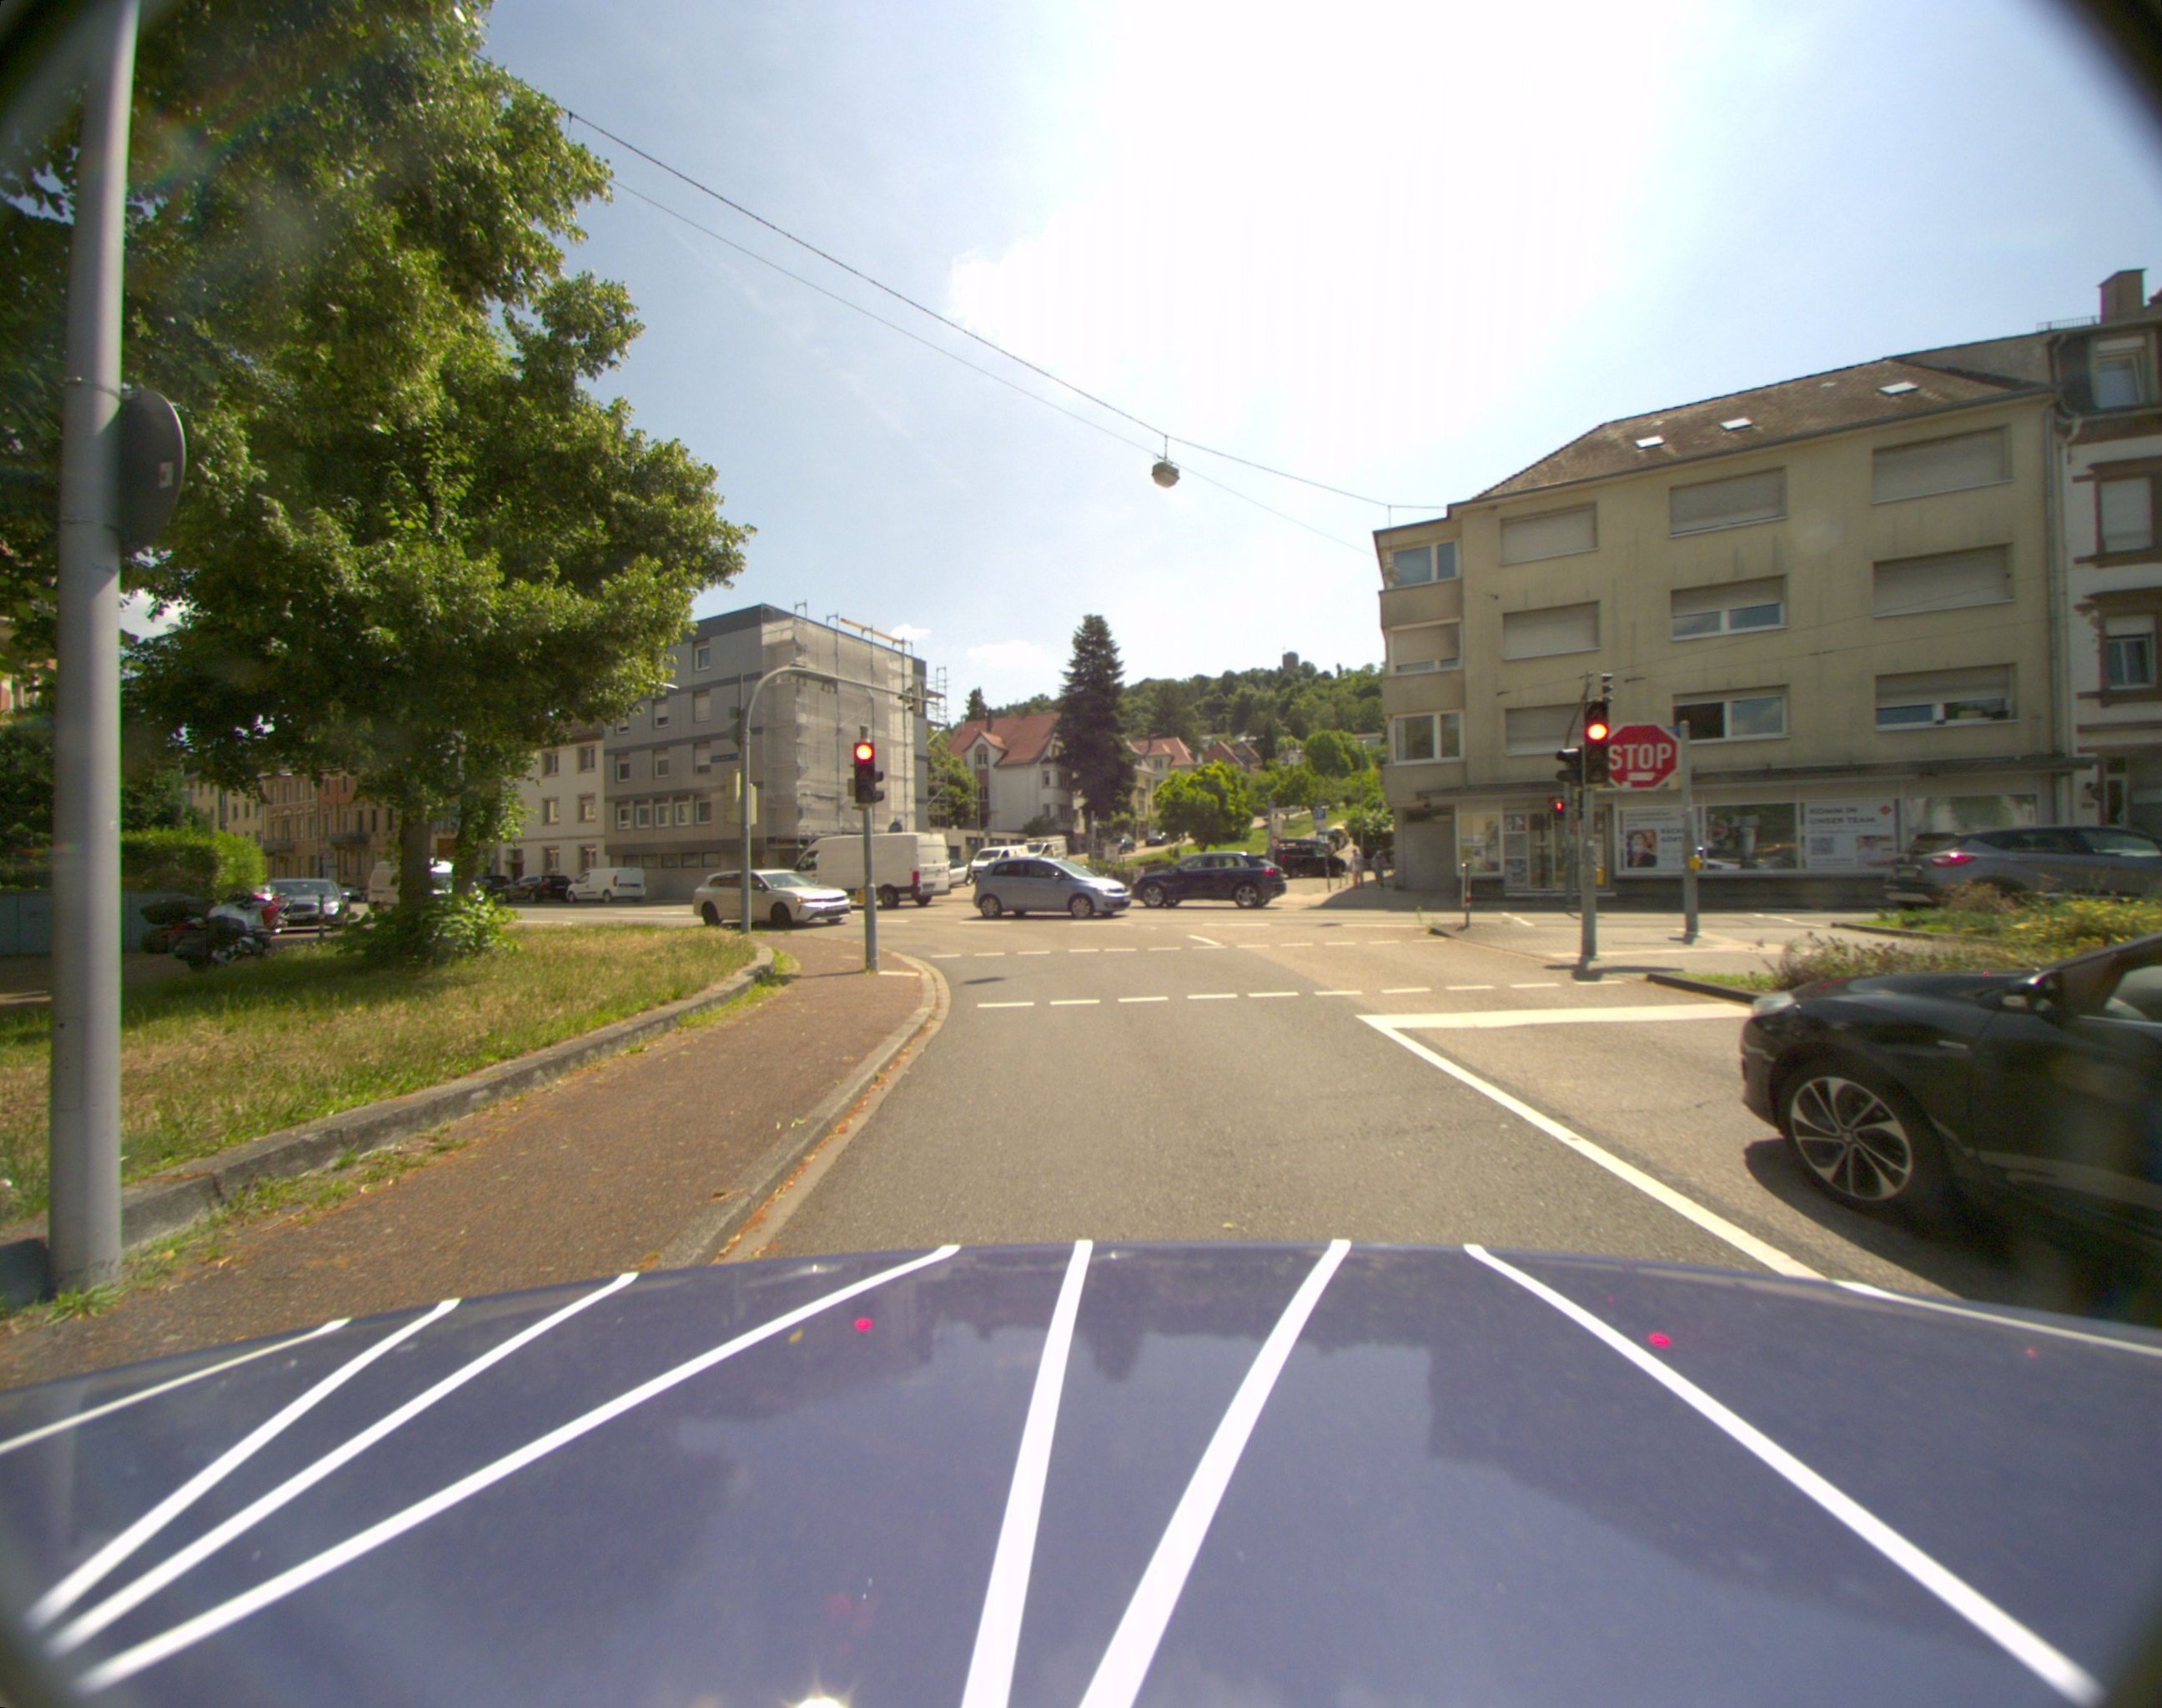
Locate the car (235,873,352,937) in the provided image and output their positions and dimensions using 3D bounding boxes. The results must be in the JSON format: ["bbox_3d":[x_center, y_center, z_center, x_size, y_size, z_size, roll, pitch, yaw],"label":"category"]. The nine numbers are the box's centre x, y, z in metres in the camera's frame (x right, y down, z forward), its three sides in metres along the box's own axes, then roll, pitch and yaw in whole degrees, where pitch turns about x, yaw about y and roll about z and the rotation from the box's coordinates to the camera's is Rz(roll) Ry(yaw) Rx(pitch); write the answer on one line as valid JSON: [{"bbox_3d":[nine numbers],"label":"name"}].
[{"bbox_3d":[-21.617,1.358,21.040,1.844,1.539,5.143,0,-2,-42],"label":"car"}]

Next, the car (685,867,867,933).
[{"bbox_3d":[-7.897,1.126,19.598,4.475,1.489,1.910,-1,0,29],"label":"car"}]

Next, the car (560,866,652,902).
[{"bbox_3d":[-25.063,1.549,40.066,4.776,1.814,1.924,-1,-1,26],"label":"car"}]

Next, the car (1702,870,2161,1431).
[{"bbox_3d":[3.988,0.843,1.465,1.998,1.491,4.426,-1,0,1],"label":"car"}]

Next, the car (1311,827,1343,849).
[{"bbox_3d":[18.538,-1.241,57.115,1.805,1.380,4.004,-1,4,25],"label":"car"}]

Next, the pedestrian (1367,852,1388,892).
[{"bbox_3d":[11.098,0.668,28.422,0.647,1.467,0.689,-1,0,29],"label":"pedestrian"}]

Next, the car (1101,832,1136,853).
[{"bbox_3d":[3.166,-0.976,63.804,1.754,1.440,3.743,-2,4,22],"label":"car"}]

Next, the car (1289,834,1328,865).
[{"bbox_3d":[14.362,-0.303,47.827,1.805,1.607,4.004,-1,4,25],"label":"car"}]

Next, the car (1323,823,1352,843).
[{"bbox_3d":[21.090,-1.728,62.493,1.805,1.413,4.004,-1,4,25],"label":"car"}]

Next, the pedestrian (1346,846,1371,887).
[{"bbox_3d":[11.159,0.506,30.572,0.820,1.623,0.805,-1,0,29],"label":"pedestrian"}]

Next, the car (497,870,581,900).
[{"bbox_3d":[-30.466,1.725,42.702,4.651,1.631,1.895,-1,-1,26],"label":"car"}]

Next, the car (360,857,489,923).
[{"bbox_3d":[-24.489,1.277,28.269,5.656,2.261,1.910,-1,0,31],"label":"car"}]

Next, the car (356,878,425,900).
[{"bbox_3d":[-46.870,2.383,51.578,4.320,1.397,1.875,-1,-4,25],"label":"car"}]

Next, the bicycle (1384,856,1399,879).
[{"bbox_3d":[14.615,0.630,35.757,0.497,1.021,1.746,-1,0,26],"label":"bicycle"}]

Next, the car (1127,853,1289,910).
[{"bbox_3d":[3.681,0.813,22.067,4.275,1.548,1.862,-1,-2,25],"label":"car"}]

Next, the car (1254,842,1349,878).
[{"bbox_3d":[11.114,0.297,38.363,4.334,1.654,1.996,-1,0,-24],"label":"car"}]

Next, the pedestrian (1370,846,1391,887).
[{"bbox_3d":[11.791,0.488,29.924,0.647,1.623,0.689,-1,0,29],"label":"pedestrian"}]

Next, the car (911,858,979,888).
[{"bbox_3d":[-7.389,1.016,41.599,1.754,1.439,3.745,-2,1,24],"label":"car"}]

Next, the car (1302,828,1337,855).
[{"bbox_3d":[16.519,-0.887,52.470,1.805,1.542,4.004,-1,4,25],"label":"car"}]

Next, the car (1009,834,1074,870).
[{"bbox_3d":[-2.639,-0.181,52.733,2.069,2.166,5.019,-1,3,29],"label":"car"}]

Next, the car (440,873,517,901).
[{"bbox_3d":[-36.129,1.954,45.541,4.805,1.631,1.895,-1,-1,29],"label":"car"}]

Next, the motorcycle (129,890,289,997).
[{"bbox_3d":[-12.787,1.239,11.248,0.920,1.305,2.219,-2,1,-33],"label":"motorcycle"}]

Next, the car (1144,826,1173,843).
[{"bbox_3d":[7.418,-1.877,72.718,1.754,1.440,3.743,-2,4,22],"label":"car"}]

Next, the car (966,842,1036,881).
[{"bbox_3d":[-4.819,0.410,46.489,1.995,2.003,5.017,-2,3,23],"label":"car"}]

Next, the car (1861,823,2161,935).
[{"bbox_3d":[15.649,0.376,12.188,3.991,1.622,1.762,-2,1,22],"label":"car"}]

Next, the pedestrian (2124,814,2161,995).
[{"bbox_3d":[10.456,0.463,6.914,0.762,1.695,0.838,-1,0,1],"label":"pedestrian"}]

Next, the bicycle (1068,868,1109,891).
[{"bbox_3d":[0.325,1.121,33.370,1.779,0.961,0.399,-1,1,24],"label":"bicycle"}]

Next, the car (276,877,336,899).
[{"bbox_3d":[-59.048,2.615,57.870,4.489,1.617,1.875,-1,-4,27],"label":"car"}]

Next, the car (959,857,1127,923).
[{"bbox_3d":[-0.989,0.918,19.829,3.990,1.559,1.763,-1,0,25],"label":"car"}]

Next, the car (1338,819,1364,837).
[{"bbox_3d":[25.059,-2.400,70.529,1.854,1.413,4.004,-1,4,25],"label":"car"}]

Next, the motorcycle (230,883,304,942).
[{"bbox_3d":[-19.189,1.351,17.972,0.935,1.294,2.275,0,-2,-40],"label":"motorcycle"}]

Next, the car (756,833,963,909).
[{"bbox_3d":[-8.104,0.554,27.523,7.535,2.487,2.227,0,2,25],"label":"car"}]

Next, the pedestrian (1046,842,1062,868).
[{"bbox_3d":[-1.814,0.068,51.458,0.741,1.704,0.713,-1,0,30],"label":"pedestrian"}]
